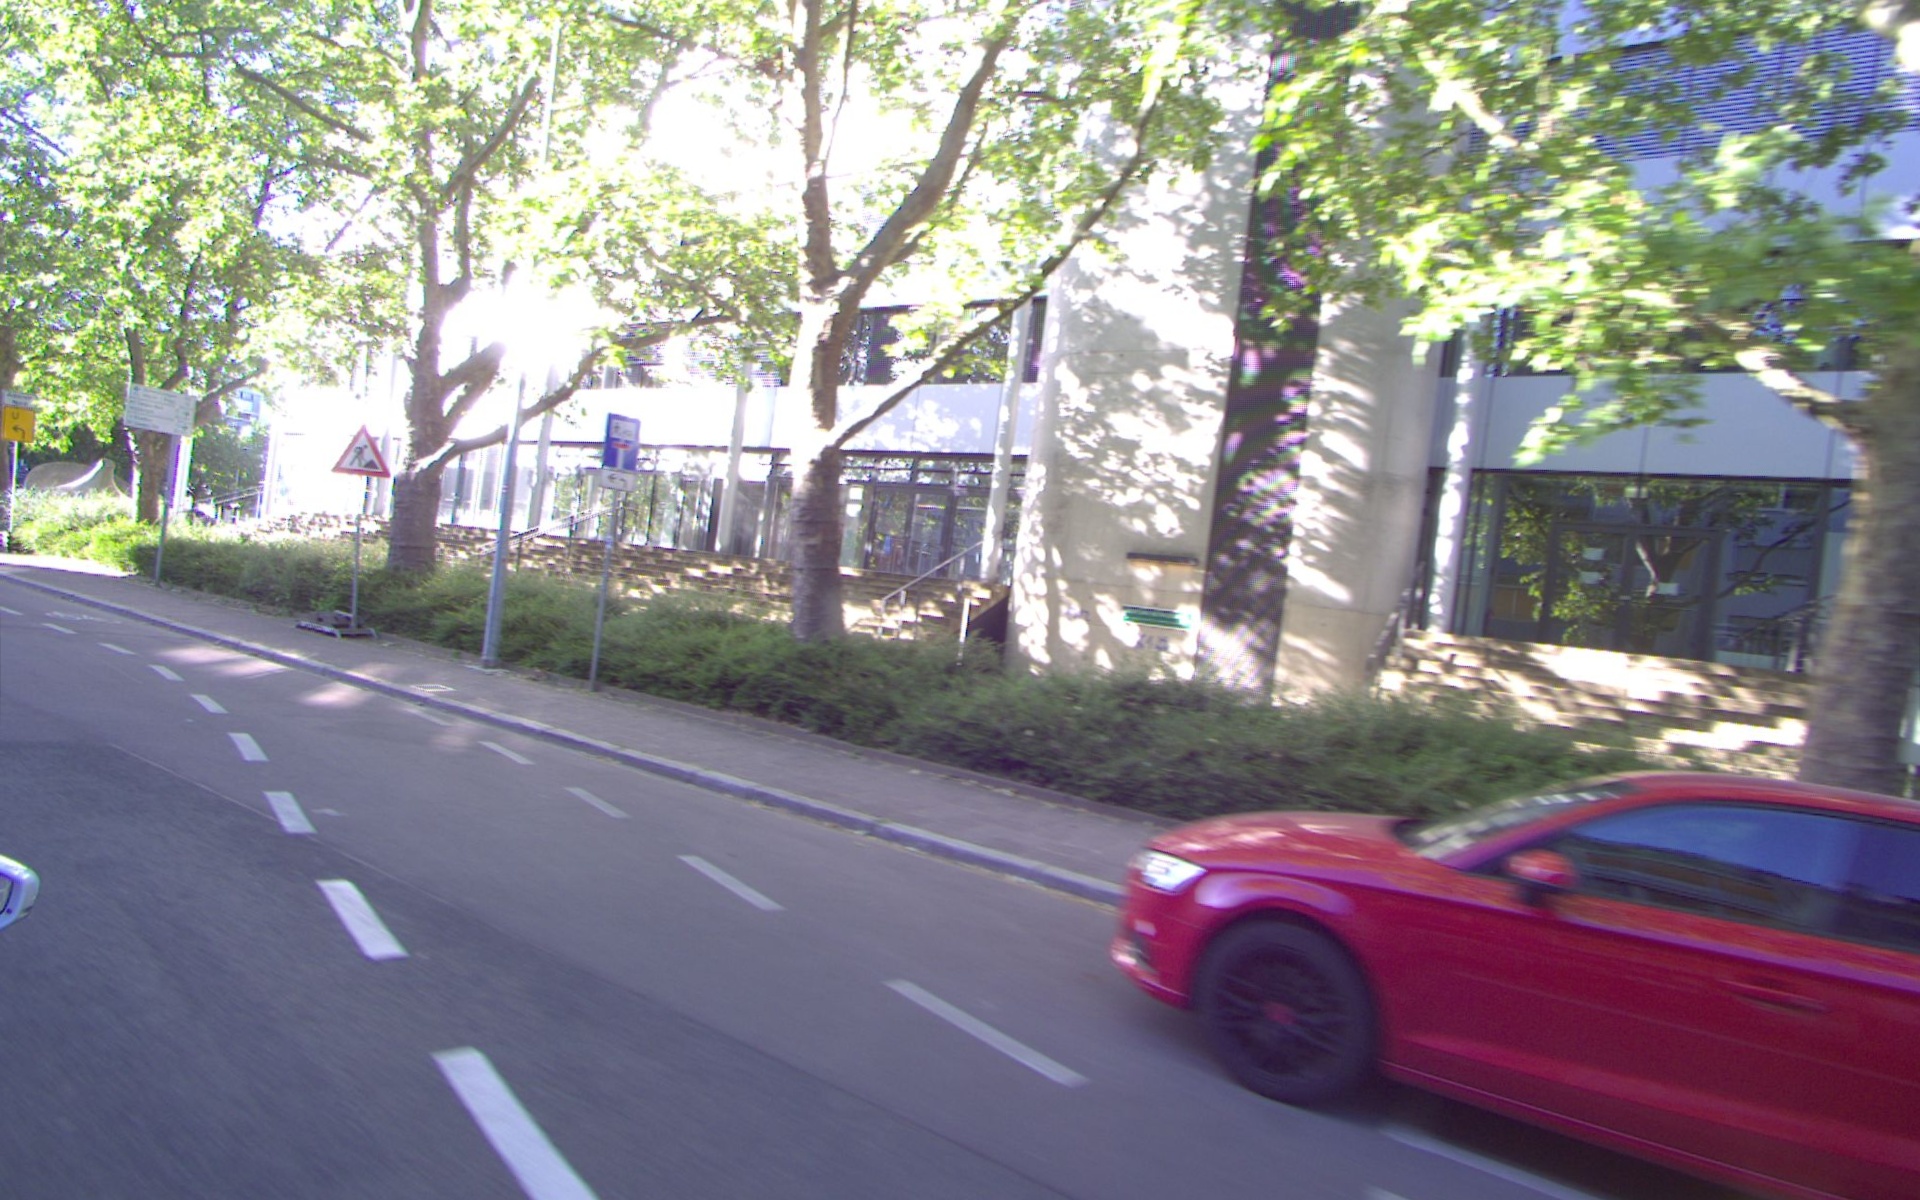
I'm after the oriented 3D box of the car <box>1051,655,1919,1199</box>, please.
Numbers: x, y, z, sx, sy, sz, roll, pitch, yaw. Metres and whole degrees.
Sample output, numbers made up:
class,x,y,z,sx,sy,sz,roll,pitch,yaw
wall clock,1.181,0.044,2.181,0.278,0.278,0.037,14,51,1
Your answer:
class,x,y,z,sx,sy,sz,roll,pitch,yaw
car,2.746,1.285,3.691,4.361,1.465,1.698,7,-2,30
